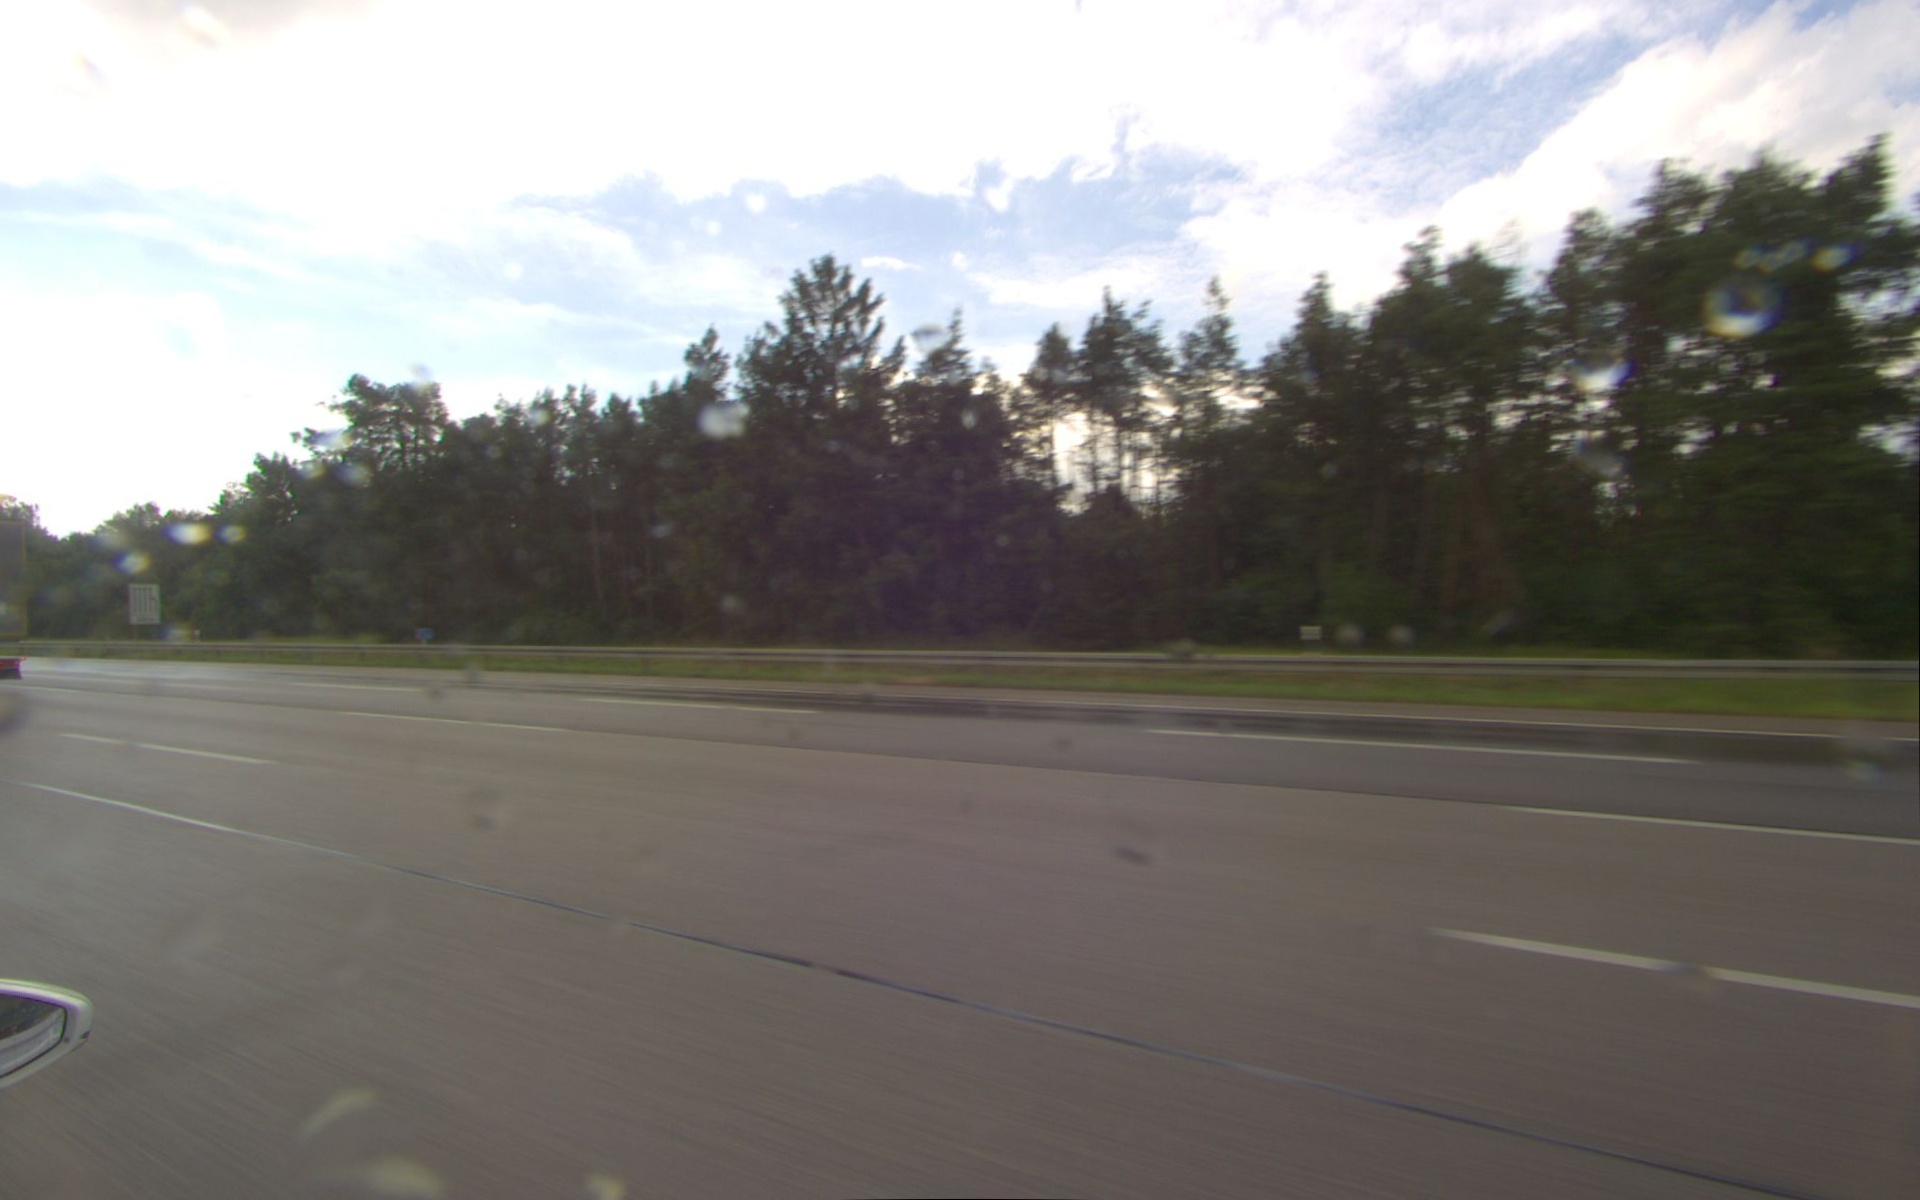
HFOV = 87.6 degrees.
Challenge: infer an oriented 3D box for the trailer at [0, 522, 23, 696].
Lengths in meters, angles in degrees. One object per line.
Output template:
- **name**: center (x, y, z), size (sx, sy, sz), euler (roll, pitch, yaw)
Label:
- **trailer**: center (-28.422, 0.299, 26.133), size (13.216, 4.053, 2.320), euler (-1, -1, 31)
